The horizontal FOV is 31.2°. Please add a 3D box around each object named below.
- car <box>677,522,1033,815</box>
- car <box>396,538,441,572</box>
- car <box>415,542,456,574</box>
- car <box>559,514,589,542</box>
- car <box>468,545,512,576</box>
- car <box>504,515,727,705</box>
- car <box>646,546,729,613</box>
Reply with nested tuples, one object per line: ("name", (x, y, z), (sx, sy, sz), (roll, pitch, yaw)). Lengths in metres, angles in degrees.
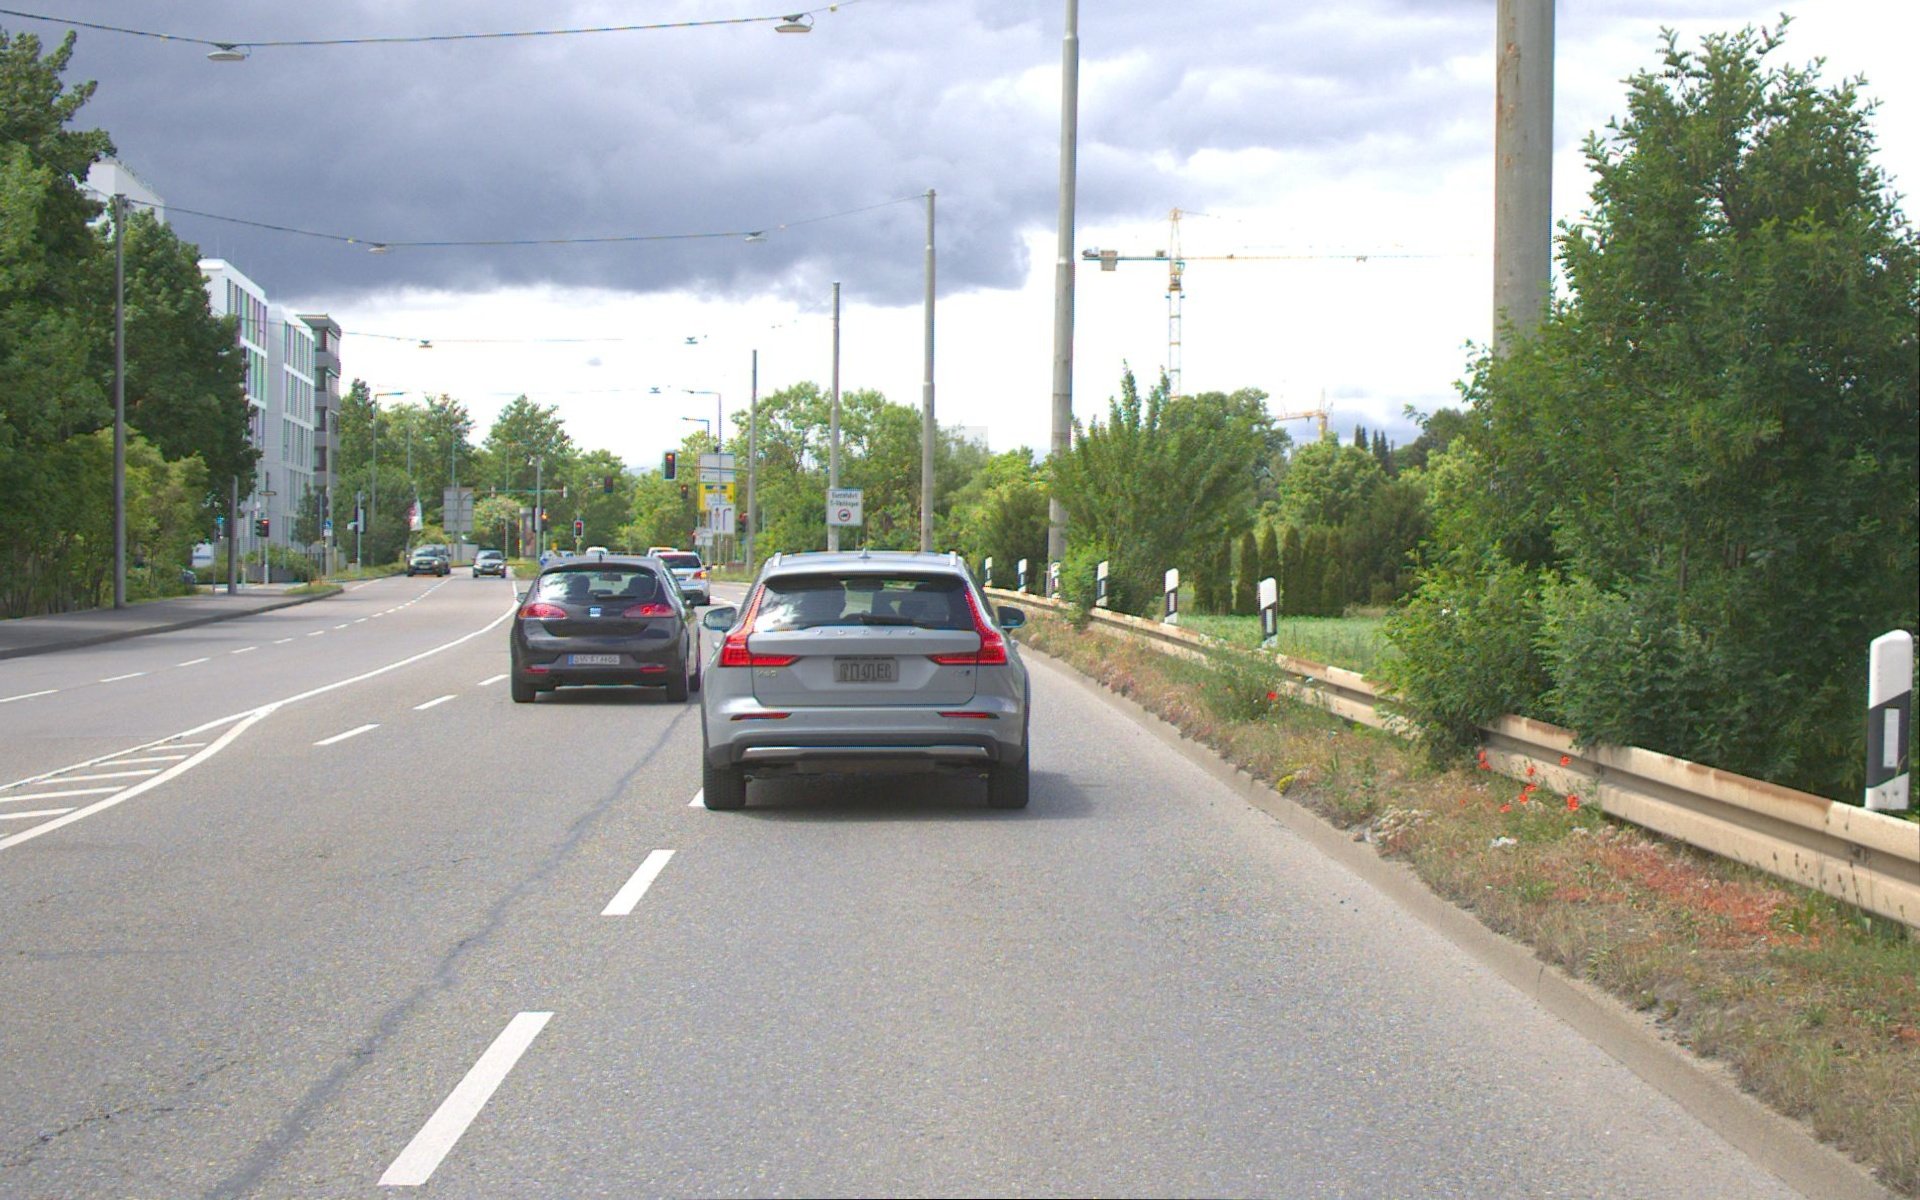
("car", (-0.570, 0.372, 20.474), (1.895, 1.549, 4.000), (1, 0, 0))
("car", (-29.050, -2.406, 184.490), (1.881, 1.711, 4.000), (3, 0, -3))
("car", (-30.543, -2.449, 200.254), (1.881, 1.711, 4.000), (3, 0, -3))
("car", (-26.902, -5.004, 239.580), (1.948, 1.744, 4.389), (3, 0, -6))
("car", (-24.972, -2.110, 182.798), (1.881, 1.515, 4.000), (3, 0, -3))
("car", (-3.410, 0.095, 34.711), (1.993, 1.711, 4.000), (3, 0, -3))
("car", (-7.426, -0.545, 93.953), (1.993, 1.689, 4.000), (3, 0, -2))
